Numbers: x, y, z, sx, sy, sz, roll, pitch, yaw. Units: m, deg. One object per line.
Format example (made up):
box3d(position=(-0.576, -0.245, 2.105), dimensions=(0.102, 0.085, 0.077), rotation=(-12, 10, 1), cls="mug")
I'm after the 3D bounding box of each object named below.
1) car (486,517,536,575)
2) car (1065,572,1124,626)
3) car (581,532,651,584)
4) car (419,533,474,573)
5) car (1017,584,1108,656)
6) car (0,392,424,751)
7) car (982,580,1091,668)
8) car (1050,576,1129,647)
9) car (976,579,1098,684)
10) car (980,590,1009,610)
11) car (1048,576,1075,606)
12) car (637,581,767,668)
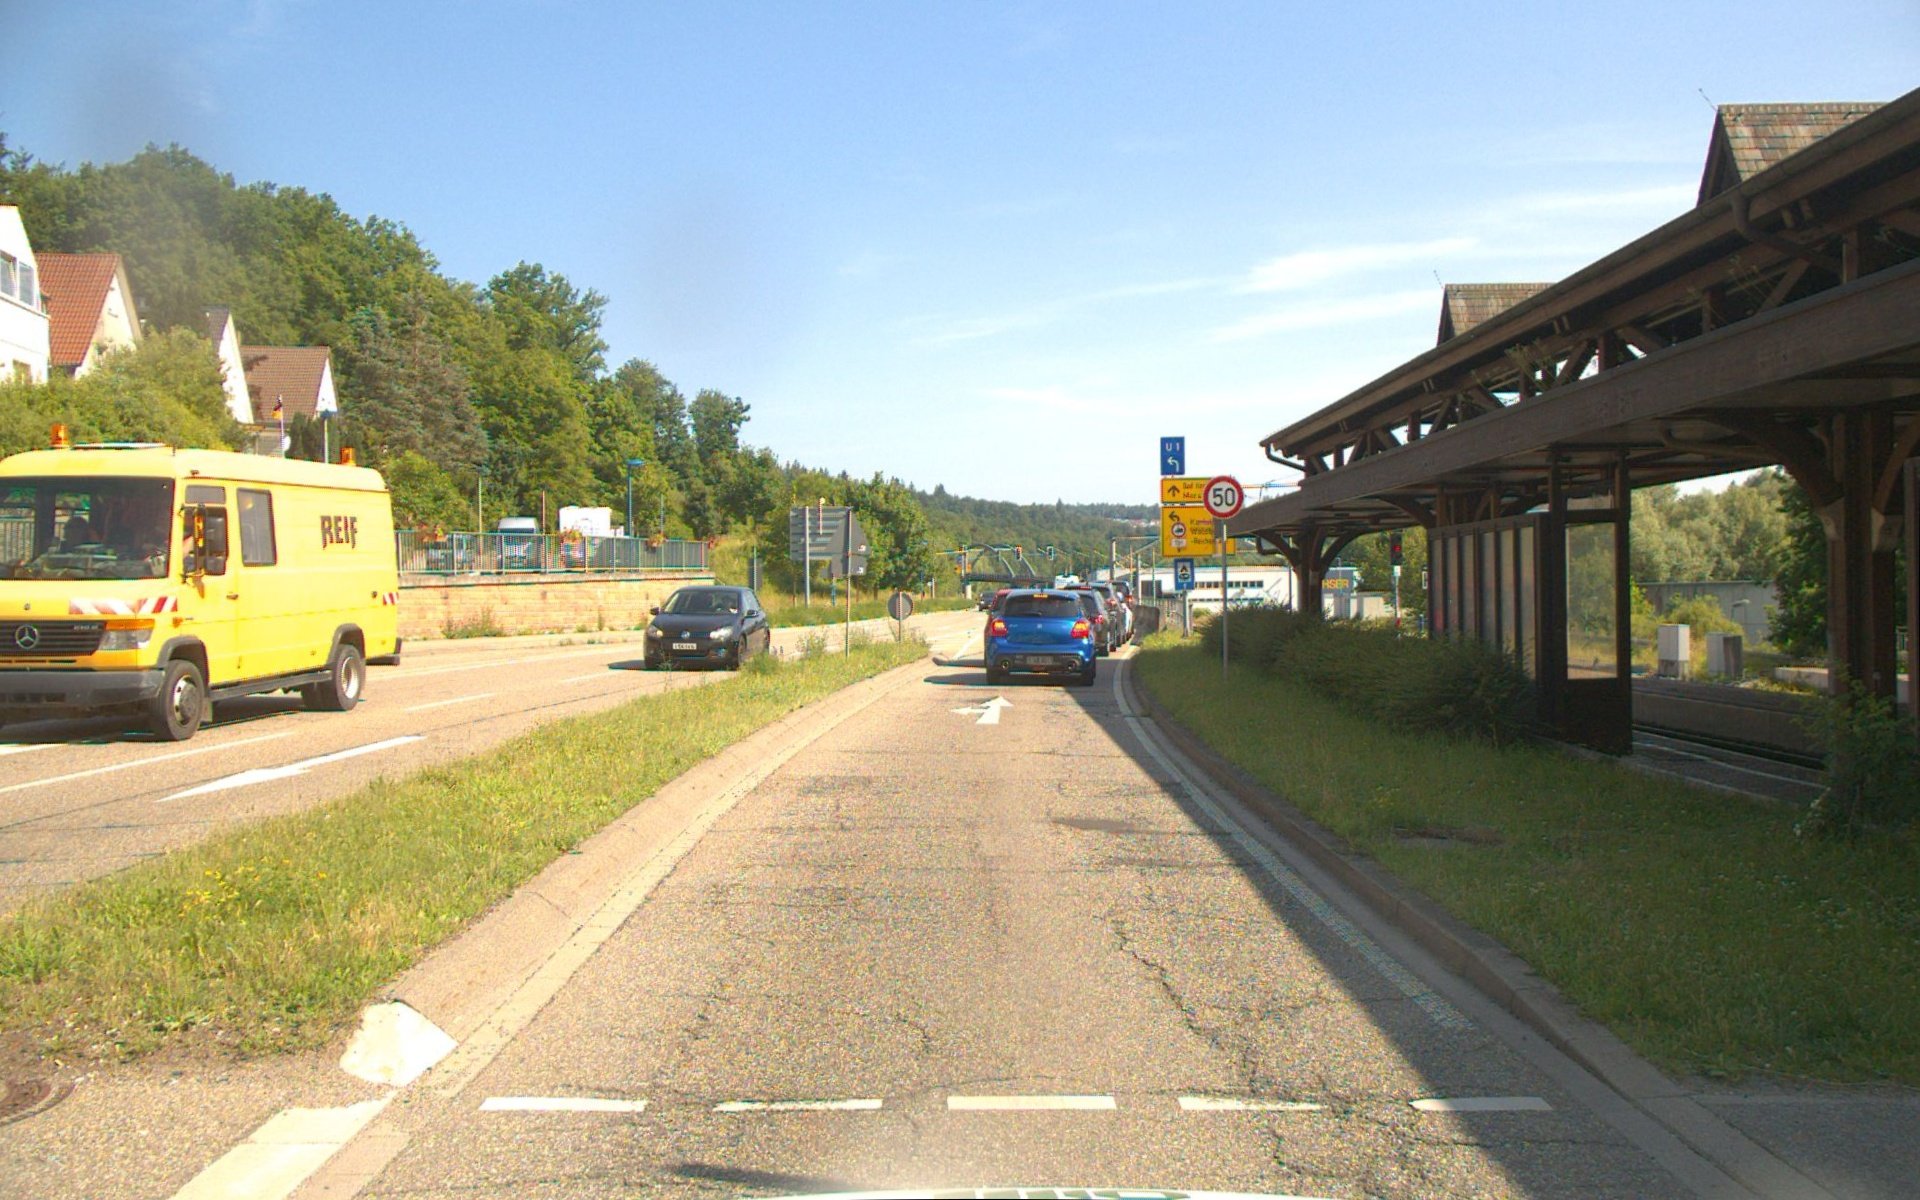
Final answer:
box3d(position=(-20.553, -2.460, 75.788), dimensions=(2.058, 2.486, 5.763), rotation=(2, 1, -15), cls="car")
box3d(position=(4.752, -0.042, 58.171), dimensions=(1.951, 1.766, 4.003), rotation=(2, 1, 5), cls="car")
box3d(position=(-13.886, -1.718, 66.968), dimensions=(1.980, 1.953, 4.729), rotation=(2, 1, -3), cls="car")
box3d(position=(-22.116, -2.003, 71.379), dimensions=(1.861, 1.658, 3.988), rotation=(0, 0, -12), cls="car")
box3d(position=(2.419, 0.420, 38.153), dimensions=(1.951, 1.558, 4.605), rotation=(0, 0, 5), cls="car")
box3d(position=(-8.090, -0.270, 17.544), dimensions=(2.416, 3.063, 6.468), rotation=(2, 0, 2), cls="car")
box3d(position=(1.590, 0.444, 32.926), dimensions=(1.951, 1.598, 4.002), rotation=(2, 0, 5), cls="car")
box3d(position=(3.485, 0.269, 44.183), dimensions=(1.951, 1.716, 4.500), rotation=(2, 1, 5), cls="car")
box3d(position=(1.280, 0.461, 27.261), dimensions=(1.829, 1.575, 4.002), rotation=(1, 0, 3), cls="car")
box3d(position=(2.619, -0.001, 125.518), dimensions=(1.753, 1.496, 4.719), rotation=(1, 0, 6), cls="car")
box3d(position=(7.862, -0.683, 127.687), dimensions=(1.952, 2.181, 4.722), rotation=(2, 0, 4), cls="car")
box3d(position=(-4.629, 0.402, 30.157), dimensions=(1.709, 1.488, 4.044), rotation=(0, 0, 0), cls="car")
